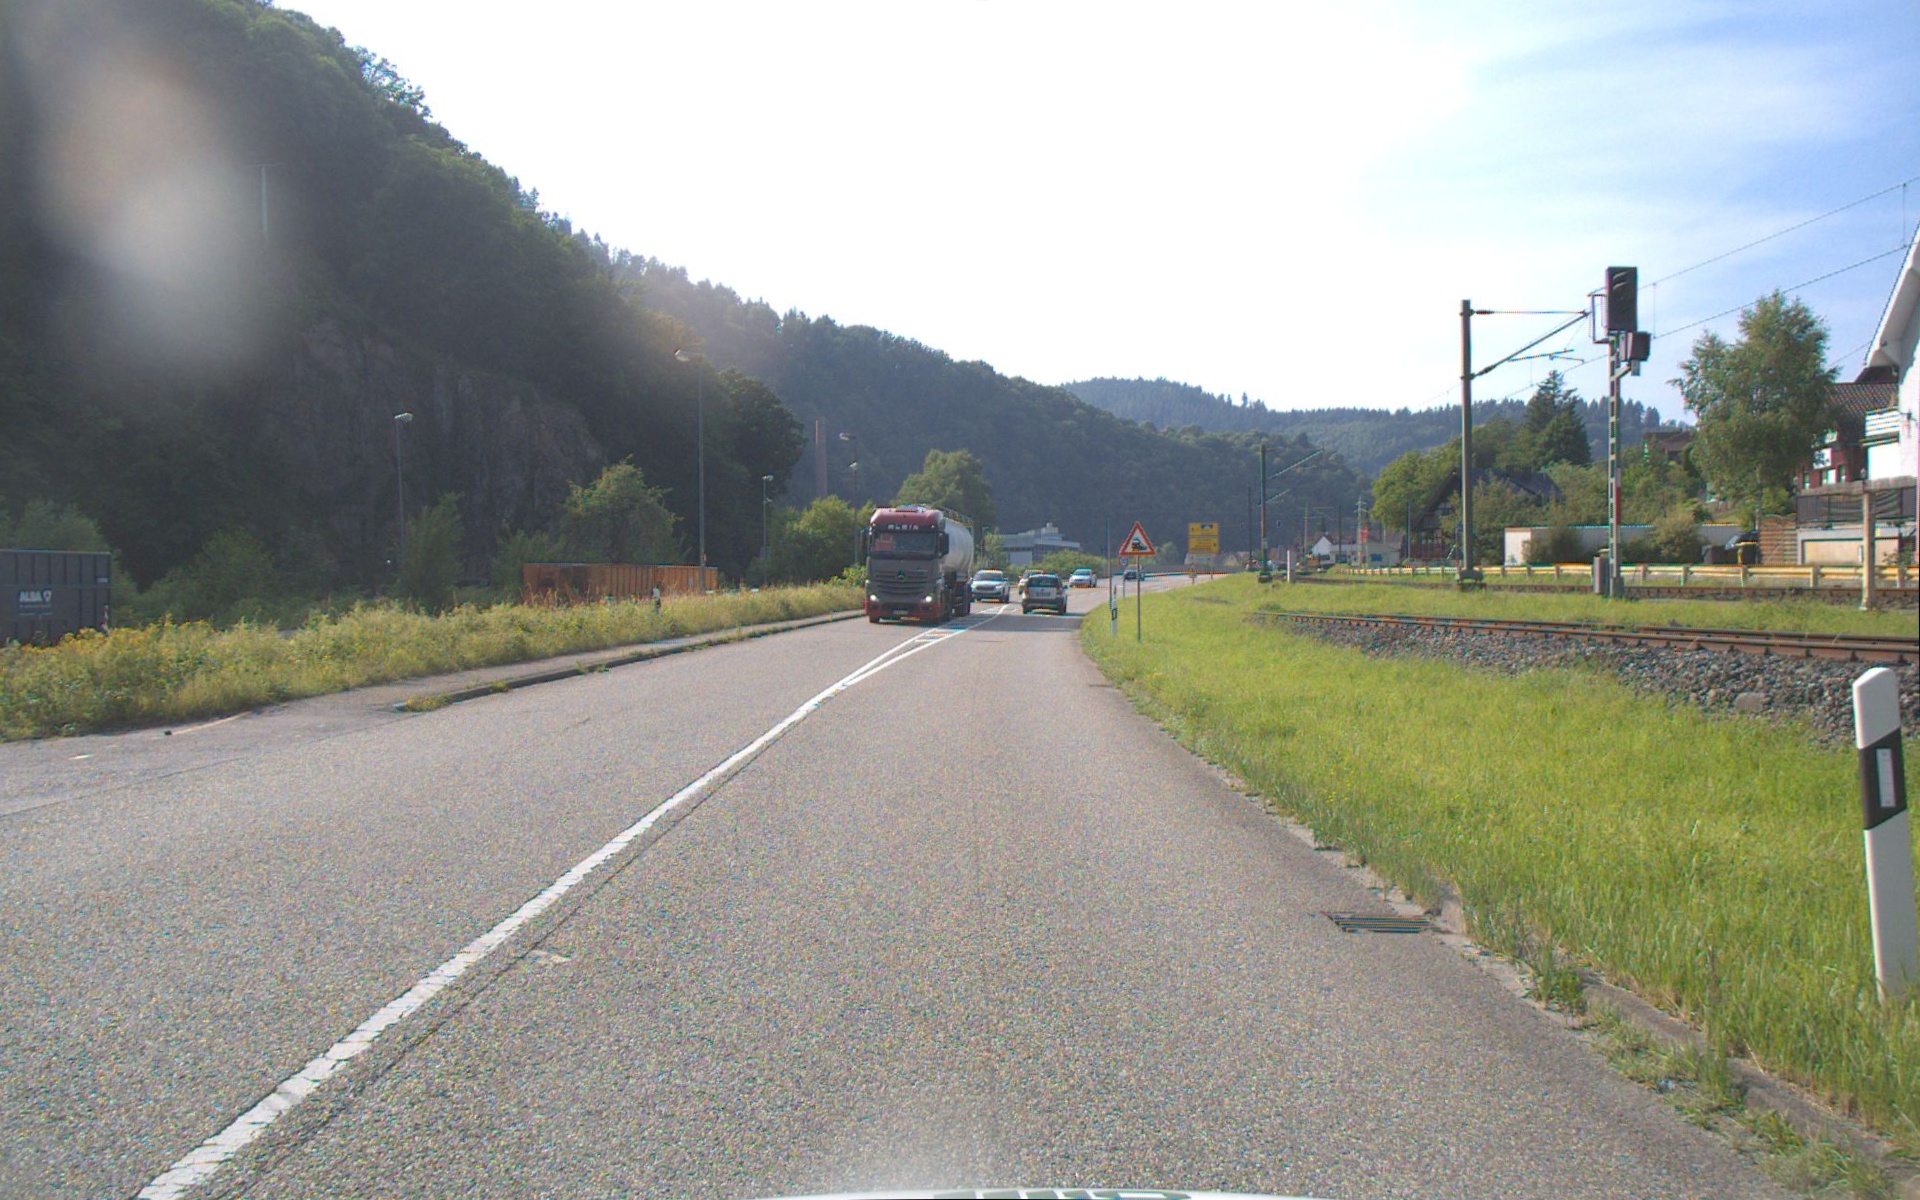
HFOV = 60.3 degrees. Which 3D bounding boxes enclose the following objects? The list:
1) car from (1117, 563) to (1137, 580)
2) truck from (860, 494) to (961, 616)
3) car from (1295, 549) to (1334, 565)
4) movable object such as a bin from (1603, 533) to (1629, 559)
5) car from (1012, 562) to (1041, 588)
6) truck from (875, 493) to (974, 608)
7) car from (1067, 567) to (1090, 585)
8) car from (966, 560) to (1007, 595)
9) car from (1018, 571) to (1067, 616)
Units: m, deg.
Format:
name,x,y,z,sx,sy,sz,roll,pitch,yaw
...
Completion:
name,x,y,z,sx,sy,sz,roll,pitch,yaw
car,16.328,-2.770,161.273,1.808,1.612,4.320,1,2,7
truck,-1.603,-1.547,57.398,2.692,3.902,8.203,1,1,4
car,49.208,-5.958,229.718,5.166,2.048,2.002,-3,1,13
movable object such as a bin,27.661,-2.282,69.763,0.790,1.068,0.913,1,2,7
car,4.439,-1.649,110.047,1.687,1.653,3.799,1,2,7
truck,-1.158,-1.851,64.112,2.692,3.902,14.569,1,1,3
car,9.629,-1.961,134.429,1.740,1.371,4.514,2,2,5
car,1.438,-1.221,88.525,1.952,1.789,4.472,1,1,4
car,3.479,-0.309,70.653,1.952,1.753,3.991,-3,1,2
